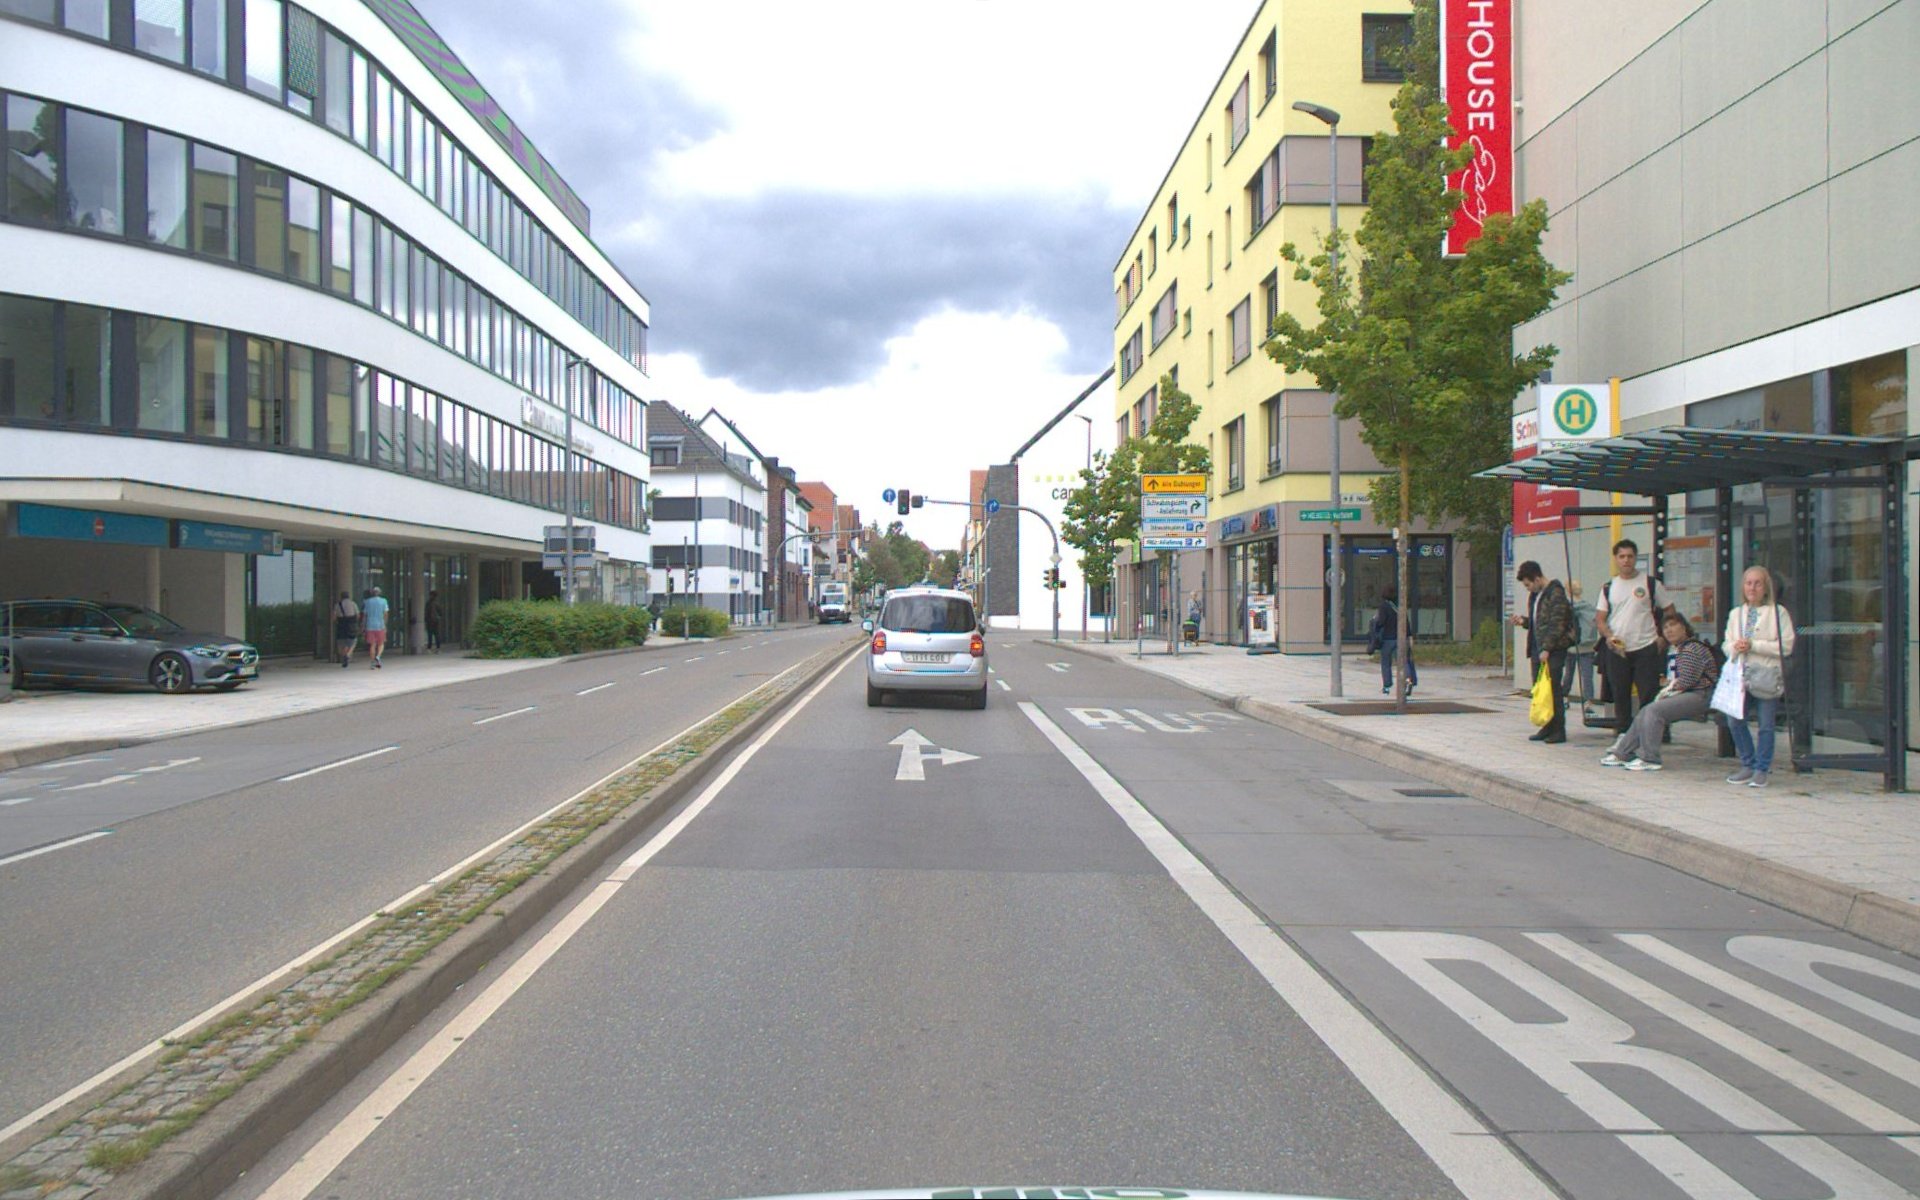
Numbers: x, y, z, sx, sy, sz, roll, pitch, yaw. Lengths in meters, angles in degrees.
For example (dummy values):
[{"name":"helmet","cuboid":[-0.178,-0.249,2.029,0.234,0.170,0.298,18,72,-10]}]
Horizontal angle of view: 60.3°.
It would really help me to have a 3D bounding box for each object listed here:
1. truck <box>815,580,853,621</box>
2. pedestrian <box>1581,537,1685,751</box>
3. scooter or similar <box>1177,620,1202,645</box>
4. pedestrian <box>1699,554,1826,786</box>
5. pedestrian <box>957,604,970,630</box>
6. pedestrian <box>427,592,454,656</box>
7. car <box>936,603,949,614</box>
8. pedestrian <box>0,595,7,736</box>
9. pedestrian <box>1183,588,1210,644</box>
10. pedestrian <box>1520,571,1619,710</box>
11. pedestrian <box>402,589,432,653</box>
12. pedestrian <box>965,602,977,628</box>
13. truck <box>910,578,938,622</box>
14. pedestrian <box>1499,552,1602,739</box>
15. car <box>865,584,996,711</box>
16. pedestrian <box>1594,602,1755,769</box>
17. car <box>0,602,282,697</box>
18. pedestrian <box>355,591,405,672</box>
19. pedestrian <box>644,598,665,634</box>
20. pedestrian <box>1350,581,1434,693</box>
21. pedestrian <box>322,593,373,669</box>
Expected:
[{"name":"truck","cuboid":[-9.491,0.034,125.074,2.386,3.005,8.362,1,0,-1]},{"name":"pedestrian","cuboid":[5.856,0.374,14.422,0.567,1.800,0.857,-1,0,4]},{"name":"scooter or similar","cuboid":[6.659,0.935,47.941,0.580,0.684,0.824,-1,0,-2]},{"name":"pedestrian","cuboid":[5.800,0.494,11.986,0.567,1.618,0.733,-1,0,4]},{"name":"pedestrian","cuboid":[0.261,1.245,122.007,0.871,1.818,0.785,-3,0,-1]},{"name":"pedestrian","cuboid":[-14.288,0.653,45.494,0.607,1.740,0.501,0,-1,-32]},{"name":"car","cuboid":[-2.351,1.158,225.203,1.776,1.378,3.999,-1,0,-1]},{"name":"pedestrian","cuboid":[-11.219,0.729,18.312,0.812,1.594,0.813,1,0,4]},{"name":"pedestrian","cuboid":[6.957,0.465,48.664,0.681,1.621,0.603,-1,0,-2]},{"name":"pedestrian","cuboid":[7.214,0.475,19.617,0.851,1.611,0.804,0,0,-2]},{"name":"pedestrian","cuboid":[-15.096,0.573,45.972,0.495,1.760,0.614,-1,-1,30]},{"name":"pedestrian","cuboid":[0.793,1.096,119.444,0.791,1.818,0.861,-3,0,-1]},{"name":"truck","cuboid":[-3.321,-0.018,153.258,2.543,3.925,6.847,0,0,-1]},{"name":"pedestrian","cuboid":[5.580,0.424,15.664,0.705,1.713,0.733,-1,0,4]},{"name":"car","cuboid":[-0.431,0.621,23.634,1.672,1.606,3.999,2,0,-1]},{"name":"pedestrian","cuboid":[5.701,0.666,13.234,0.924,1.281,0.732,-1,0,-4]},{"name":"car","cuboid":[-13.664,0.774,27.030,4.363,1.440,1.903,1,0,3]},{"name":"pedestrian","cuboid":[-12.516,0.668,35.716,0.715,1.703,0.931,1,0,1]},{"name":"pedestrian","cuboid":[-15.062,0.776,81.527,0.869,1.698,0.809,-1,2,-21]},{"name":"pedestrian","cuboid":[6.328,0.534,24.277,0.928,1.611,1.015,0,0,-2]},{"name":"pedestrian","cuboid":[-13.415,0.674,36.258,0.715,1.641,0.931,1,0,1]}]
